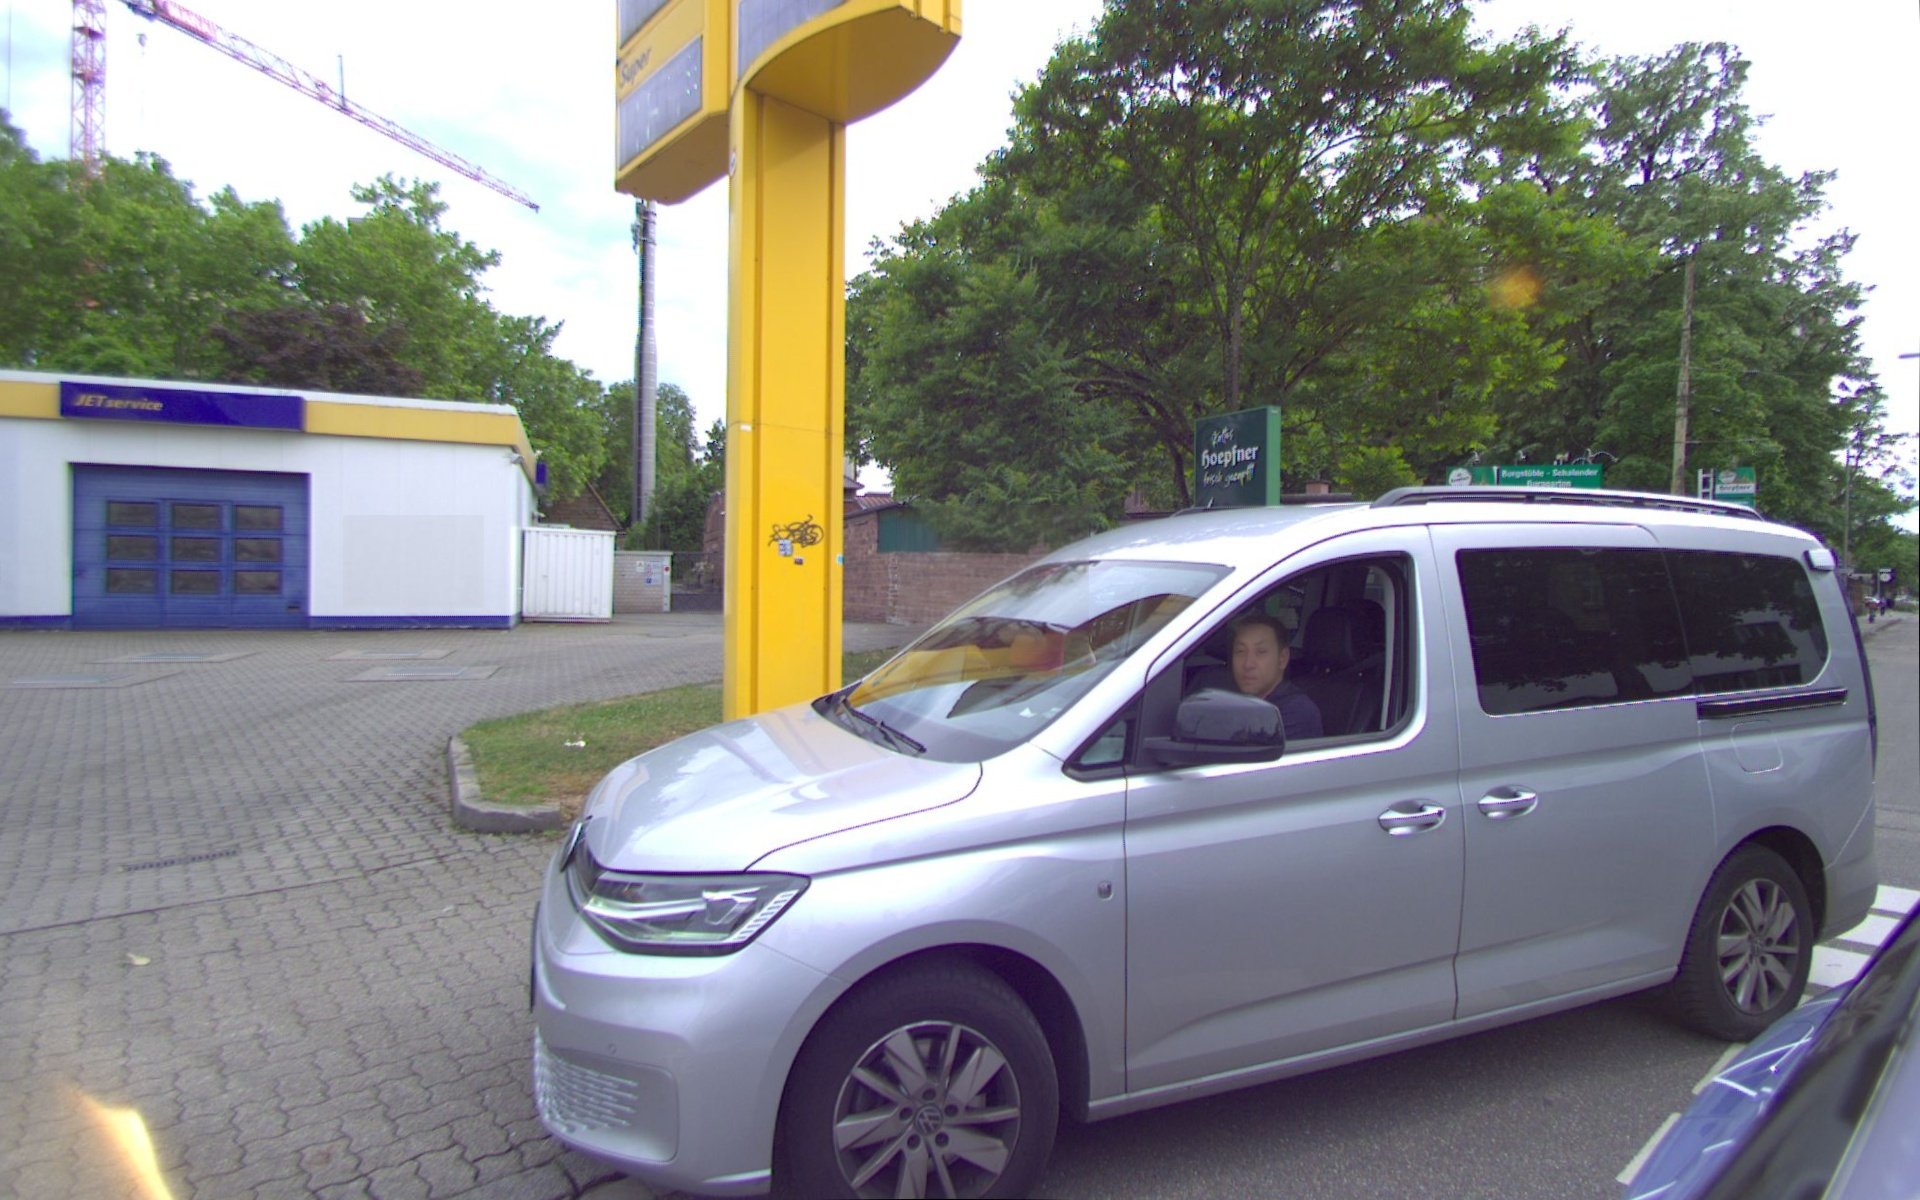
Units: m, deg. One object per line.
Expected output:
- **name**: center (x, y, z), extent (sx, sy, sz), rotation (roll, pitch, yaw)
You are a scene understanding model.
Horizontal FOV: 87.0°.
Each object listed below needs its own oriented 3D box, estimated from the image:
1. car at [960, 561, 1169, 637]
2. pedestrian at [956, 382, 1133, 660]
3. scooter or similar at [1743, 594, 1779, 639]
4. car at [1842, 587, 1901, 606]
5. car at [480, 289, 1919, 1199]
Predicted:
- **car**: center (2.310, -0.037, 23.171), extent (4.401, 1.477, 1.988), rotation (2, 1, -6)
- **pedestrian**: center (0.600, -0.534, 7.011), extent (0.964, 1.759, 0.855), rotation (3, 3, 23)
- **scooter or similar**: center (23.761, 0.471, 30.011), extent (1.387, 1.254, 0.577), rotation (0, 4, -45)
- **car**: center (92.916, -0.387, 103.151), extent (1.961, 1.637, 4.005), rotation (0, 4, -33)
- **car**: center (1.030, 0.381, 3.569), extent (4.833, 1.830, 1.855), rotation (1, 1, -24)
